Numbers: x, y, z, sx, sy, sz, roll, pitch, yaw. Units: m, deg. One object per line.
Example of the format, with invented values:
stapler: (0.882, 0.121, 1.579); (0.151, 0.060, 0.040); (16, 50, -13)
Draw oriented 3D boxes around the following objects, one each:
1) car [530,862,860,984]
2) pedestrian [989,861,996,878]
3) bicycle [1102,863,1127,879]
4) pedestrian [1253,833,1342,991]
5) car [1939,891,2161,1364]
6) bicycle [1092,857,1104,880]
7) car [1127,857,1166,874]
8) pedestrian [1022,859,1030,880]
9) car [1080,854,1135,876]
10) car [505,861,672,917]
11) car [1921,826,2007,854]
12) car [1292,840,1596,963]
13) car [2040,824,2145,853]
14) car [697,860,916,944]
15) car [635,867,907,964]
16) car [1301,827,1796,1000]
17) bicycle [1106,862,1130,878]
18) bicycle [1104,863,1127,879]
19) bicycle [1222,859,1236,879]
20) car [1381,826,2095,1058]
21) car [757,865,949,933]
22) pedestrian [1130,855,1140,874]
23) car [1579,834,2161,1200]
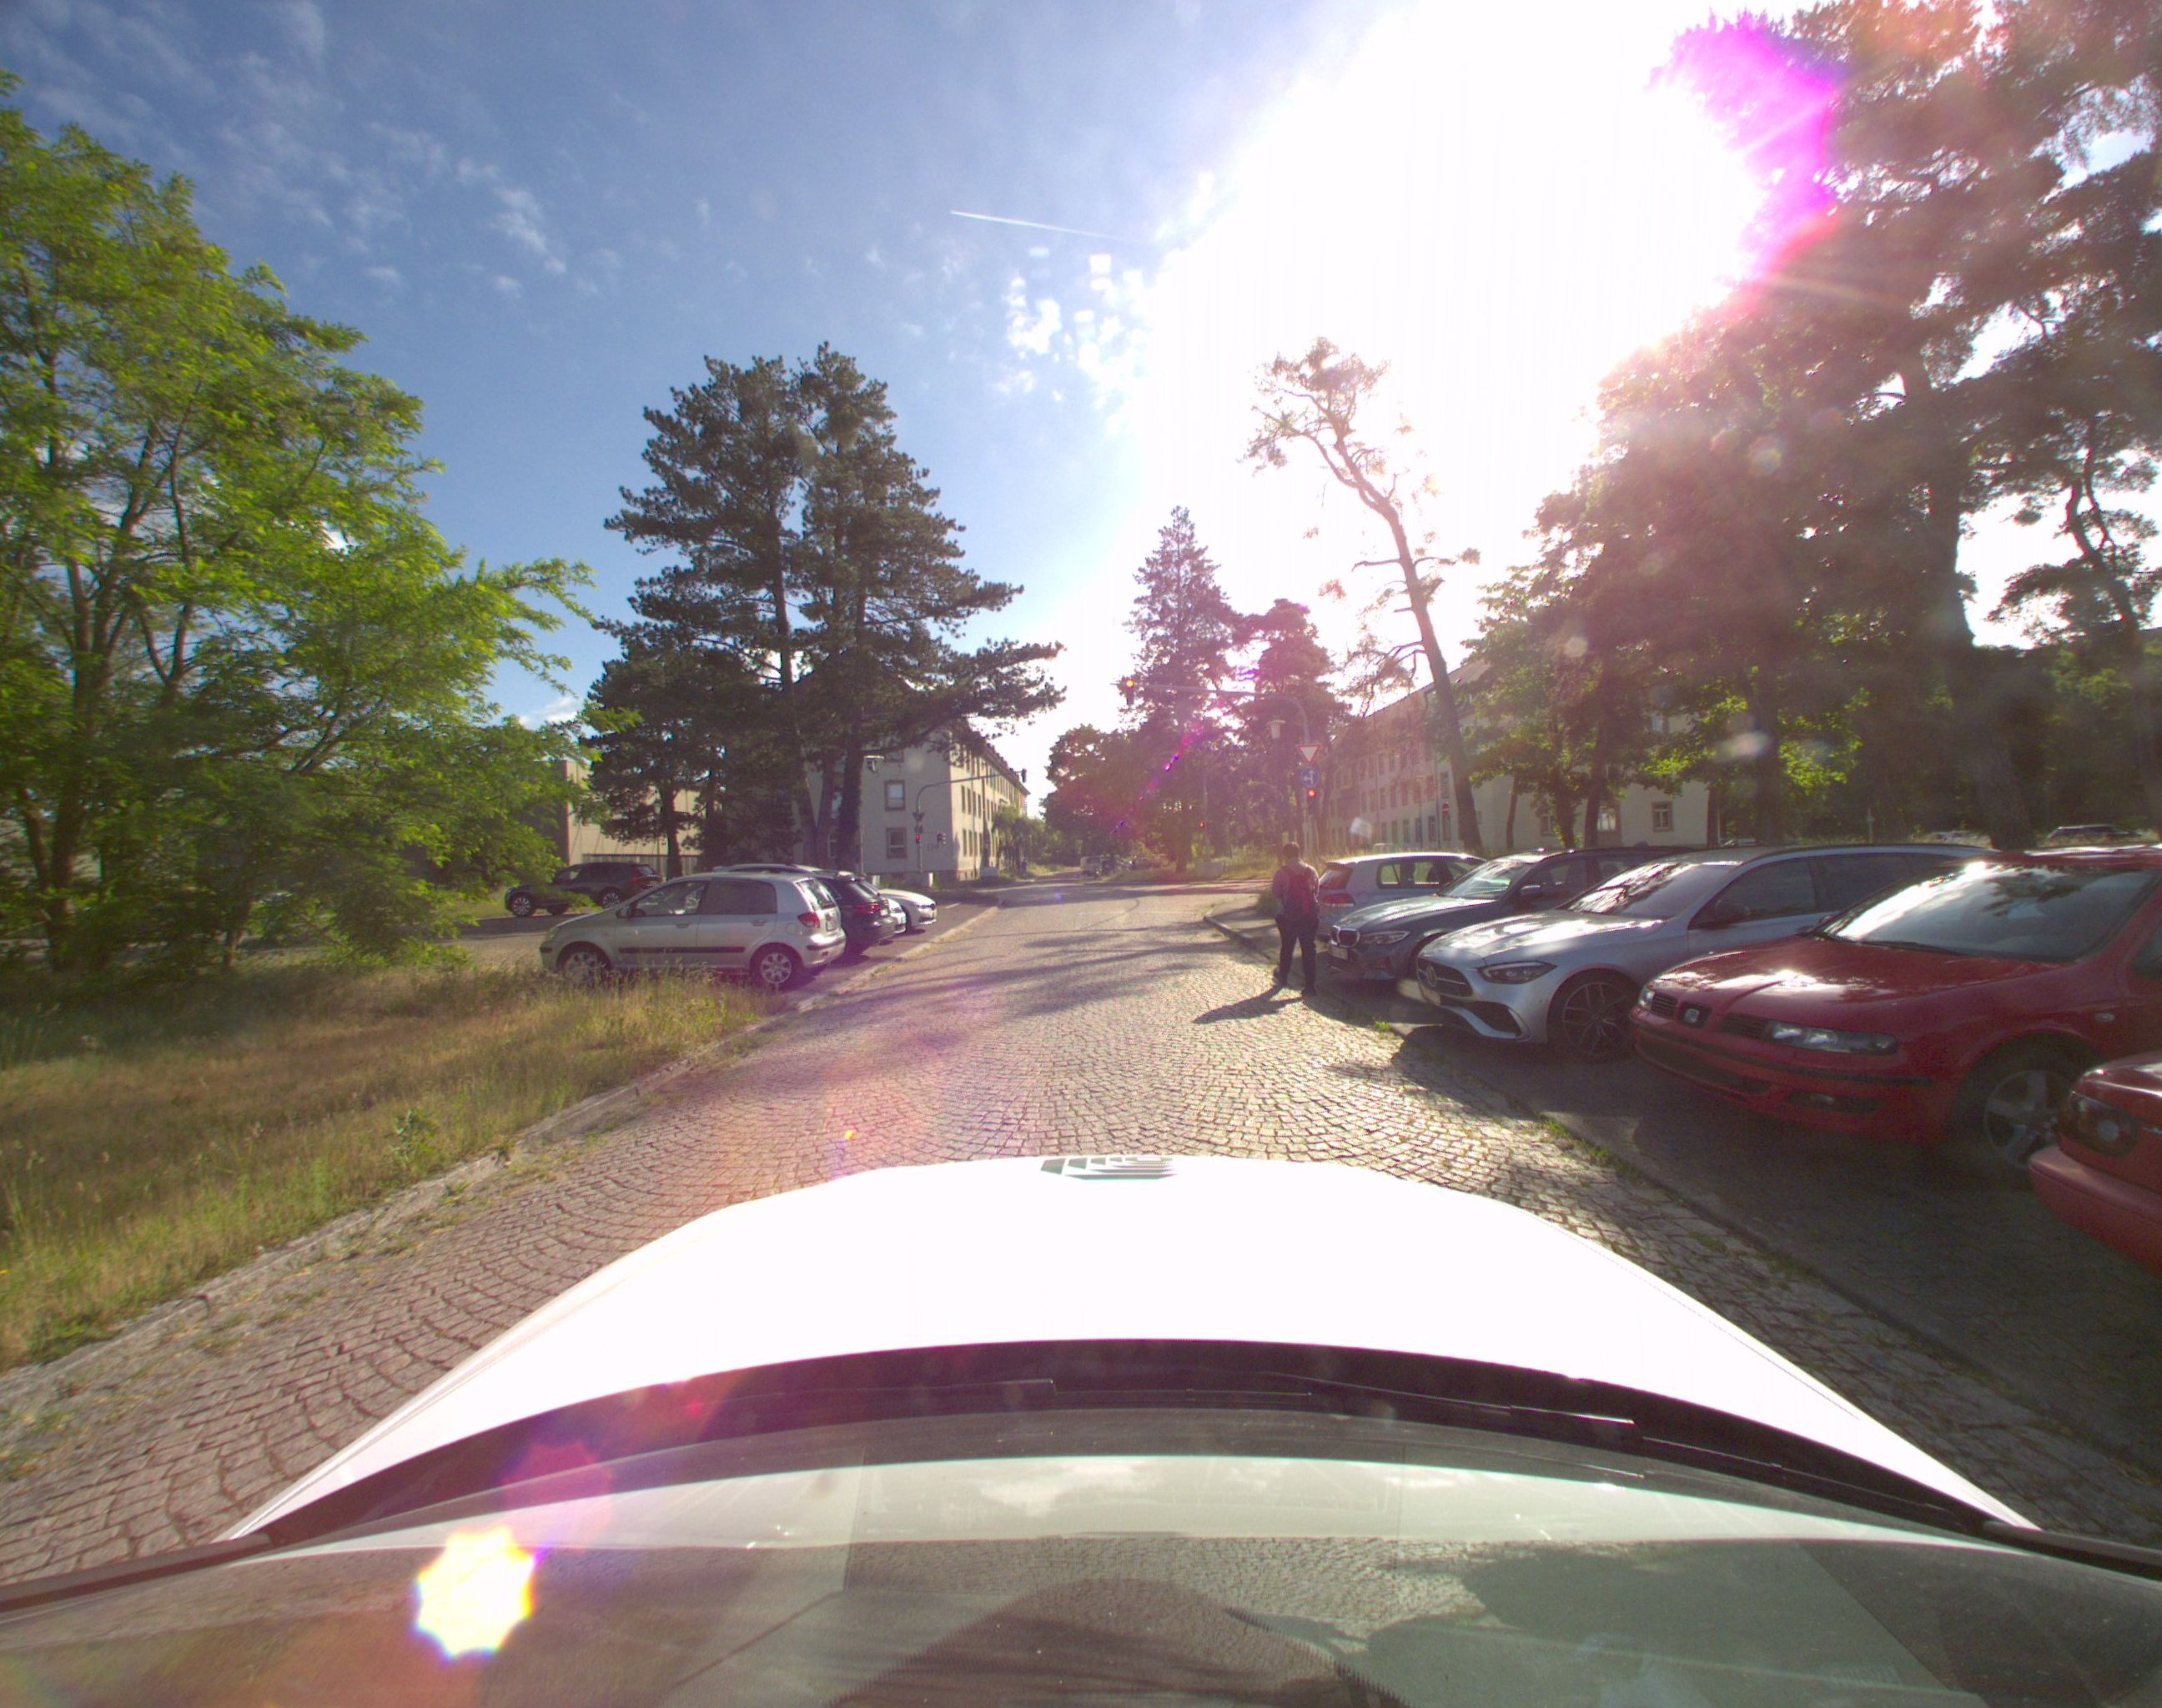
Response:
car: (-5.112, 0.888, 11.181); (3.676, 1.527, 1.698); (0, -1, -2)
pedestrian: (-8.116, 1.460, 74.966); (0.606, 1.560, 0.544); (-2, -1, -6)
bicycle: (2.522, 1.284, 60.923); (1.830, 1.112, 0.495); (-2, -1, -3)
pedestrian: (2.495, 0.646, 9.473); (0.750, 1.725, 0.828); (3, -1, 0)
car: (4.639, 0.711, 1.975); (3.448, 1.242, 1.537); (-2, -1, 1)
bicycle: (1.199, 0.997, 57.645); (0.751, 1.580, 2.536); (-2, 0, 0)
car: (6.636, 1.150, 82.726); (3.740, 1.580, 1.737); (-2, -1, -7)
pedestrian: (-4.656, 1.282, 68.807); (0.606, 1.752, 0.628); (-2, -1, -8)
car: (2.551, 1.038, 78.828); (5.065, 1.918, 1.994); (-2, -1, -9)
car: (-15.955, 1.100, 26.546); (4.128, 1.608, 2.010); (-2, 0, 1)
car: (58.497, -0.895, 53.987); (3.620, 1.671, 1.768); (-2, -1, 3)
car: (5.171, 0.652, 11.961); (3.661, 1.443, 1.665); (-4, -1, 0)
car: (57.628, -0.853, 46.462); (3.620, 1.498, 1.768); (-2, -1, 3)
car: (-5.478, 0.939, 16.615); (3.868, 1.615, 1.660); (0, -1, -1)
car: (-5.119, 0.994, 13.841); (3.925, 1.445, 1.690); (1, -1, -1)
car: (5.127, 0.614, 9.390); (4.607, 1.455, 1.869); (-4, 0, -2)
bicycle: (2.845, 1.247, 62.147); (1.723, 1.164, 0.560); (-2, -1, -3)
bicycle: (2.599, 1.286, 61.467); (1.723, 1.112, 0.483); (-2, -1, -3)
bicycle: (8.904, 0.883, 48.988); (0.717, 1.115, 2.591); (-2, -1, 10)
car: (5.003, 0.625, 6.673); (4.386, 1.388, 1.788); (-3, -1, -1)
car: (-5.303, 1.021, 19.244); (3.968, 1.496, 1.775); (0, 0, 5)
pedestrian: (5.123, 1.008, 77.200); (0.759, 1.783, 0.682); (-2, -1, -7)
car: (5.178, 0.675, 4.362); (3.966, 1.448, 1.655); (-3, -1, 0)
